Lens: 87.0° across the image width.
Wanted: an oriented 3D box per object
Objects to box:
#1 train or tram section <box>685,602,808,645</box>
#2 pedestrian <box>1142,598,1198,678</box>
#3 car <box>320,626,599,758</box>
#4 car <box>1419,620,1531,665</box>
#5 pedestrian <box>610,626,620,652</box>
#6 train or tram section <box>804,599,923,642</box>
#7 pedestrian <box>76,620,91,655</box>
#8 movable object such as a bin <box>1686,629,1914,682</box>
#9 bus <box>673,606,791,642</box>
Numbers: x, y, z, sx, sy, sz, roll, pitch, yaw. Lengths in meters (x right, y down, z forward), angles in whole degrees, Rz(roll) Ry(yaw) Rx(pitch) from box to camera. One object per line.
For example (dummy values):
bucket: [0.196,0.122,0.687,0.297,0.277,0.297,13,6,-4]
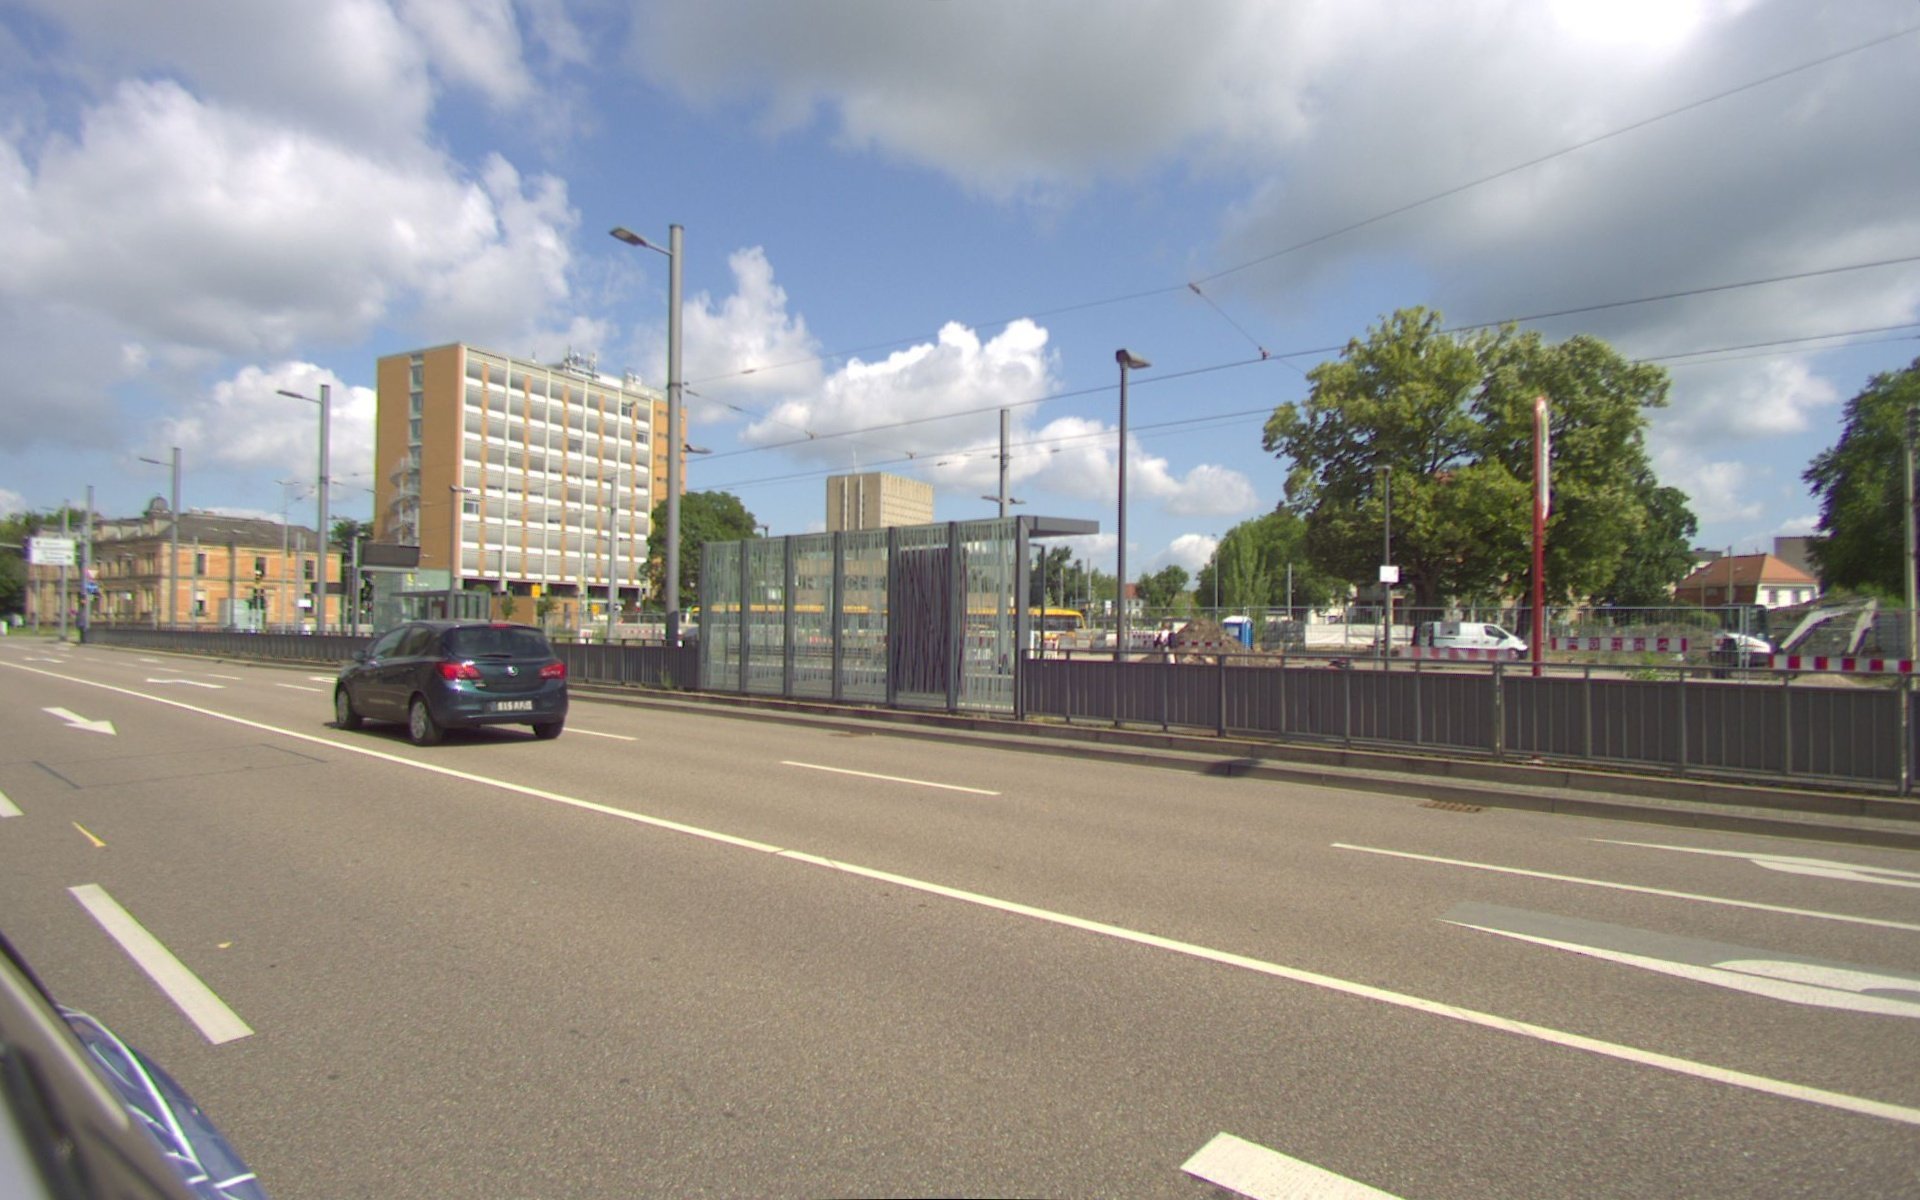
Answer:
train or tram section: [-19.122,2.127,91.240,10.446,3.507,3.328,-1,-3,-5]
pedestrian: [5.512,0.988,26.519,1.051,2.029,1.053,-2,-3,44]
car: [-6.454,1.059,12.924,3.739,1.428,1.895,-1,-3,41]
car: [26.020,2.162,51.294,4.592,2.154,1.936,-2,-2,9]
pedestrian: [-24.494,2.752,71.884,0.554,1.808,0.721,0,-2,-7]
train or tram section: [-8.773,1.872,92.146,10.446,3.507,3.328,-1,-3,-5]
pedestrian: [-51.565,2.197,59.531,0.513,2.029,0.498,-1,-3,29]
movable object such as a bin: [26.093,1.689,31.723,5.131,1.514,1.981,-1,-2,29]
bus: [-24.157,2.662,108.000,12.175,3.648,2.922,2,-3,-37]
